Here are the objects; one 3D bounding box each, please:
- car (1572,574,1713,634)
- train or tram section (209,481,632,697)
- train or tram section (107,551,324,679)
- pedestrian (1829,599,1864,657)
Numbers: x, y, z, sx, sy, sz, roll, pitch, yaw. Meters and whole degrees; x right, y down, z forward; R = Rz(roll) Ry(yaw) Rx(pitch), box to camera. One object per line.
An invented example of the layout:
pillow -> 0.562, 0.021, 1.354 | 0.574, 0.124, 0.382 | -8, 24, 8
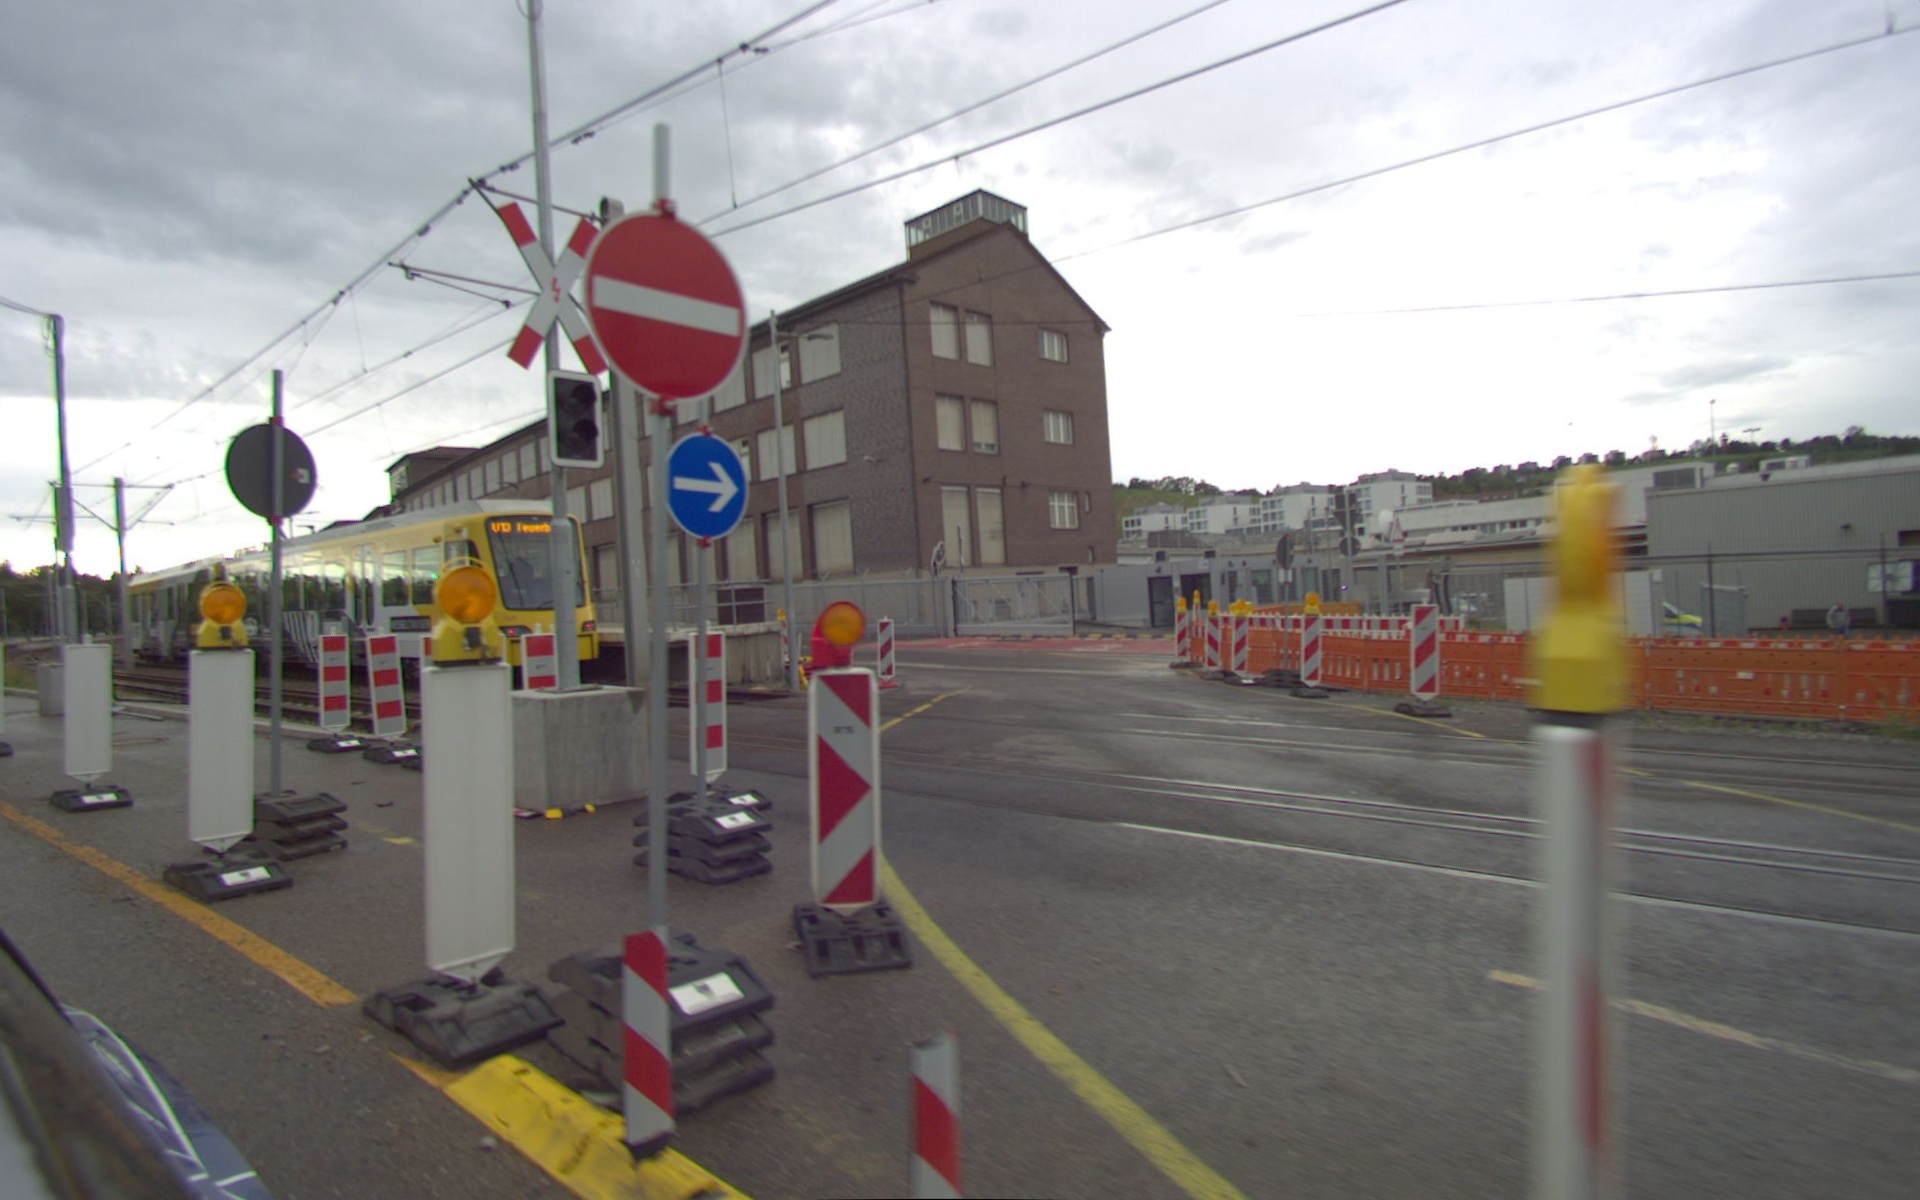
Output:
car -> 24.348, 0.171, 36.278 | 3.984, 2.029, 1.980 | -1, 0, 30
train or tram section -> -14.900, 0.048, 25.854 | 19.283, 3.915, 2.924 | -3, 1, 42
train or tram section -> -29.240, 0.722, 38.923 | 19.570, 3.915, 2.924 | -3, 1, 43
pedestrian -> 28.364, 0.898, 32.389 | 0.762, 1.804, 0.701 | -2, -1, 37
